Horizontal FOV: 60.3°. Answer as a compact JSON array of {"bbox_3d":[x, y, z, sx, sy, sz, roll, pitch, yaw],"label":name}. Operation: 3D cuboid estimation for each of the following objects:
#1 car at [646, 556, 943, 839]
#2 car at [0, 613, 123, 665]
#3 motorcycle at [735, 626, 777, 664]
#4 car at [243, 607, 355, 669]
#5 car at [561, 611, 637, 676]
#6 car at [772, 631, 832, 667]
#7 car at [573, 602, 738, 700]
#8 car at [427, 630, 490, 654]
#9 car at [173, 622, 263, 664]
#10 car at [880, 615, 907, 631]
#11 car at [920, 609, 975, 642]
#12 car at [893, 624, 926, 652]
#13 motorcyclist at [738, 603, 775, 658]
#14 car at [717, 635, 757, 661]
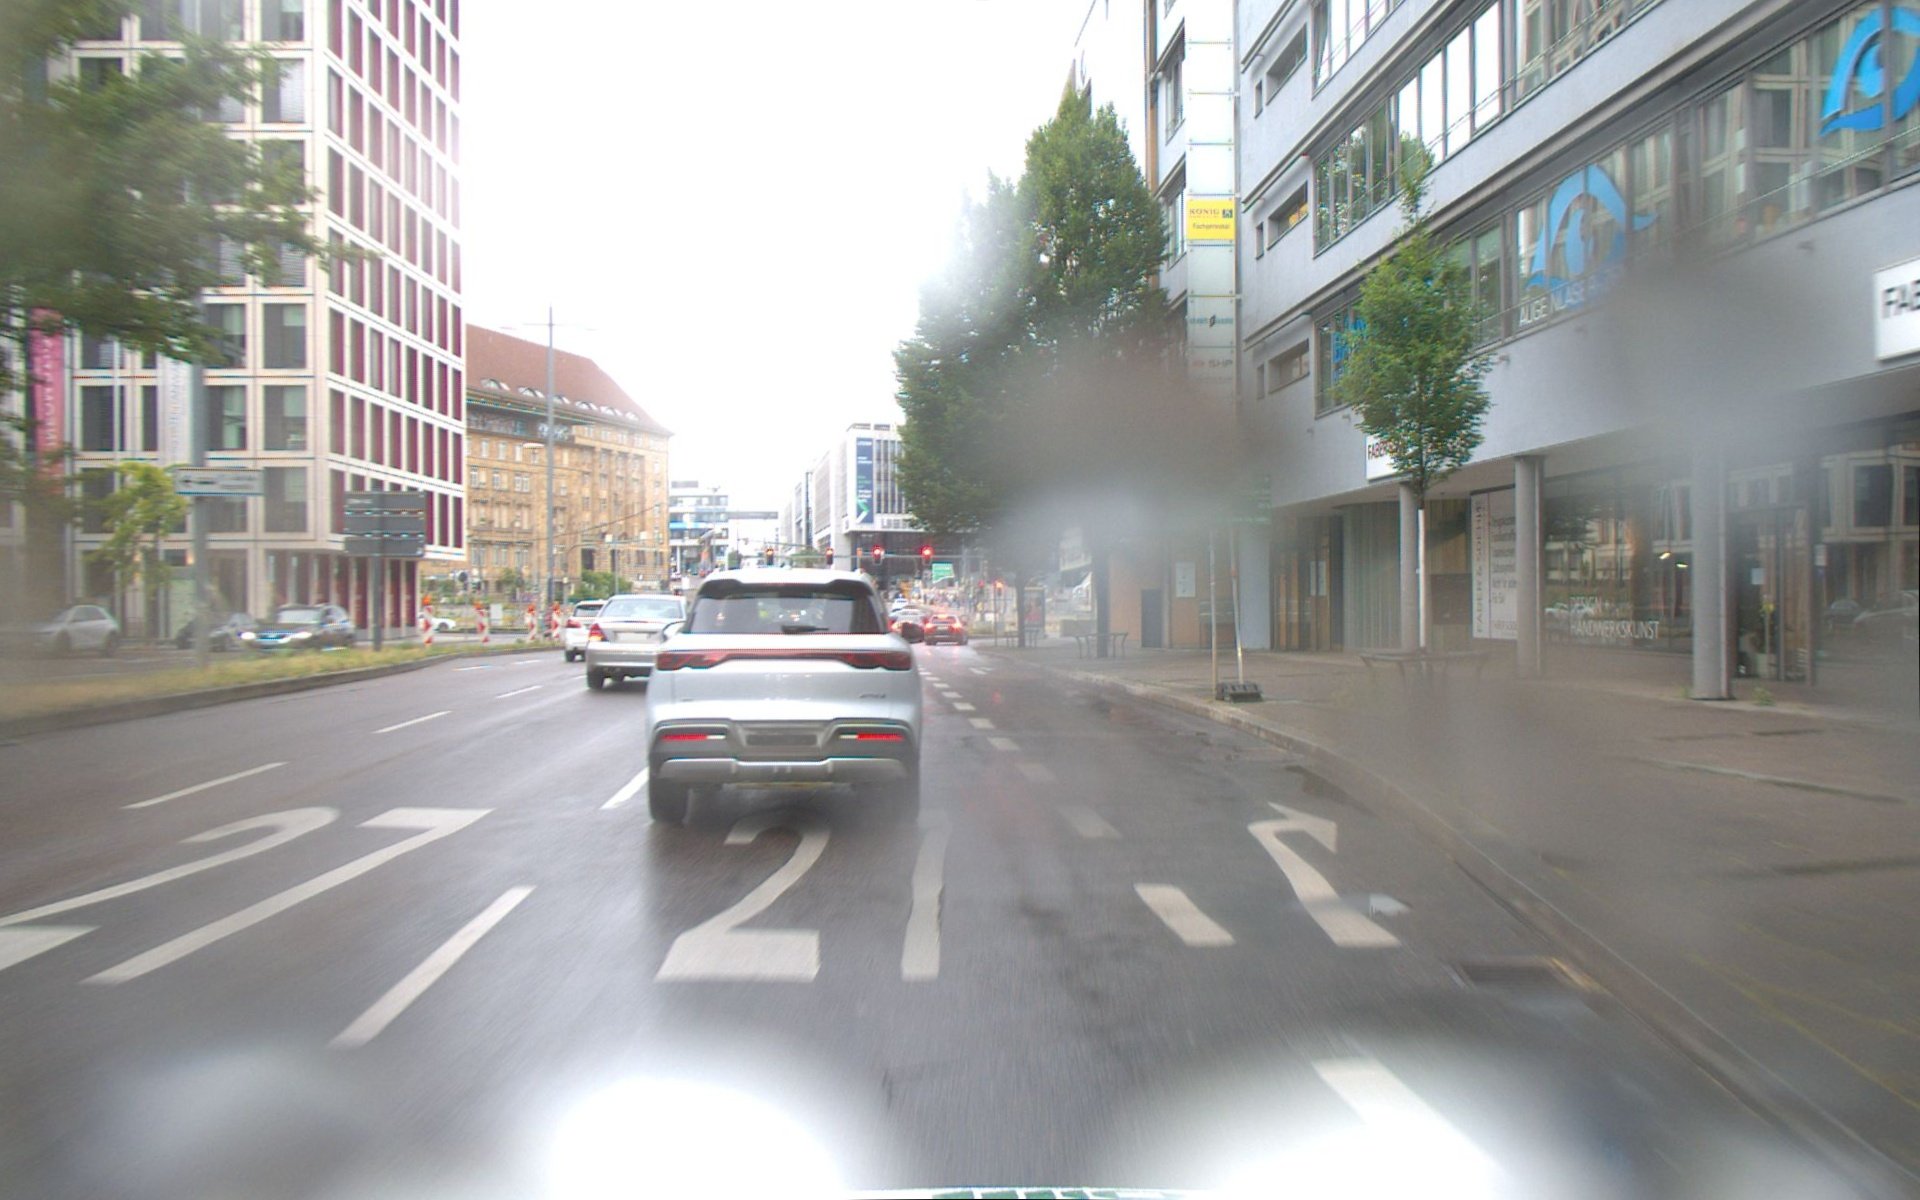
[{"bbox_3d":[-1.056,0.634,12.064,1.771,1.690,4.169,1,-1,-2],"label":"car"},{"bbox_3d":[-26.895,1.141,49.433,1.664,1.449,4.371,-2,-1,-3],"label":"car"},{"bbox_3d":[-5.714,1.246,46.425,0.923,1.007,2.293,1,-1,-1],"label":"motorcycle"},{"bbox_3d":[-18.658,1.074,46.891,1.791,1.661,4.866,1,-1,-8],"label":"car"},{"bbox_3d":[-9.568,1.154,44.084,1.700,1.644,3.991,1,-1,-9],"label":"car"},{"bbox_3d":[-7.078,2.189,74.678,1.847,1.541,5.004,0,-1,4],"label":"car"},{"bbox_3d":[-4.776,0.797,26.518,1.697,1.428,4.383,0,-1,2],"label":"car"},{"bbox_3d":[-36.217,3.041,119.402,4.314,1.691,1.989,1,-1,-19],"label":"car"},{"bbox_3d":[-27.262,1.559,60.908,1.664,1.449,3.953,-2,-1,-3],"label":"car"},{"bbox_3d":[-7.833,2.729,194.668,1.966,1.848,3.972,1,-1,-22],"label":"car"},{"bbox_3d":[-0.597,1.287,81.595,1.851,1.571,3.996,0,-1,12],"label":"car"},{"bbox_3d":[-2.860,2.172,94.945,1.747,1.427,4.486,0,1,0],"label":"car"},{"bbox_3d":[-5.716,0.863,46.496,0.922,1.501,1.100,1,-1,-1],"label":"motorcyclist"},{"bbox_3d":[-12.286,2.644,91.234,1.747,1.397,3.992,1,-1,-1],"label":"car"}]
